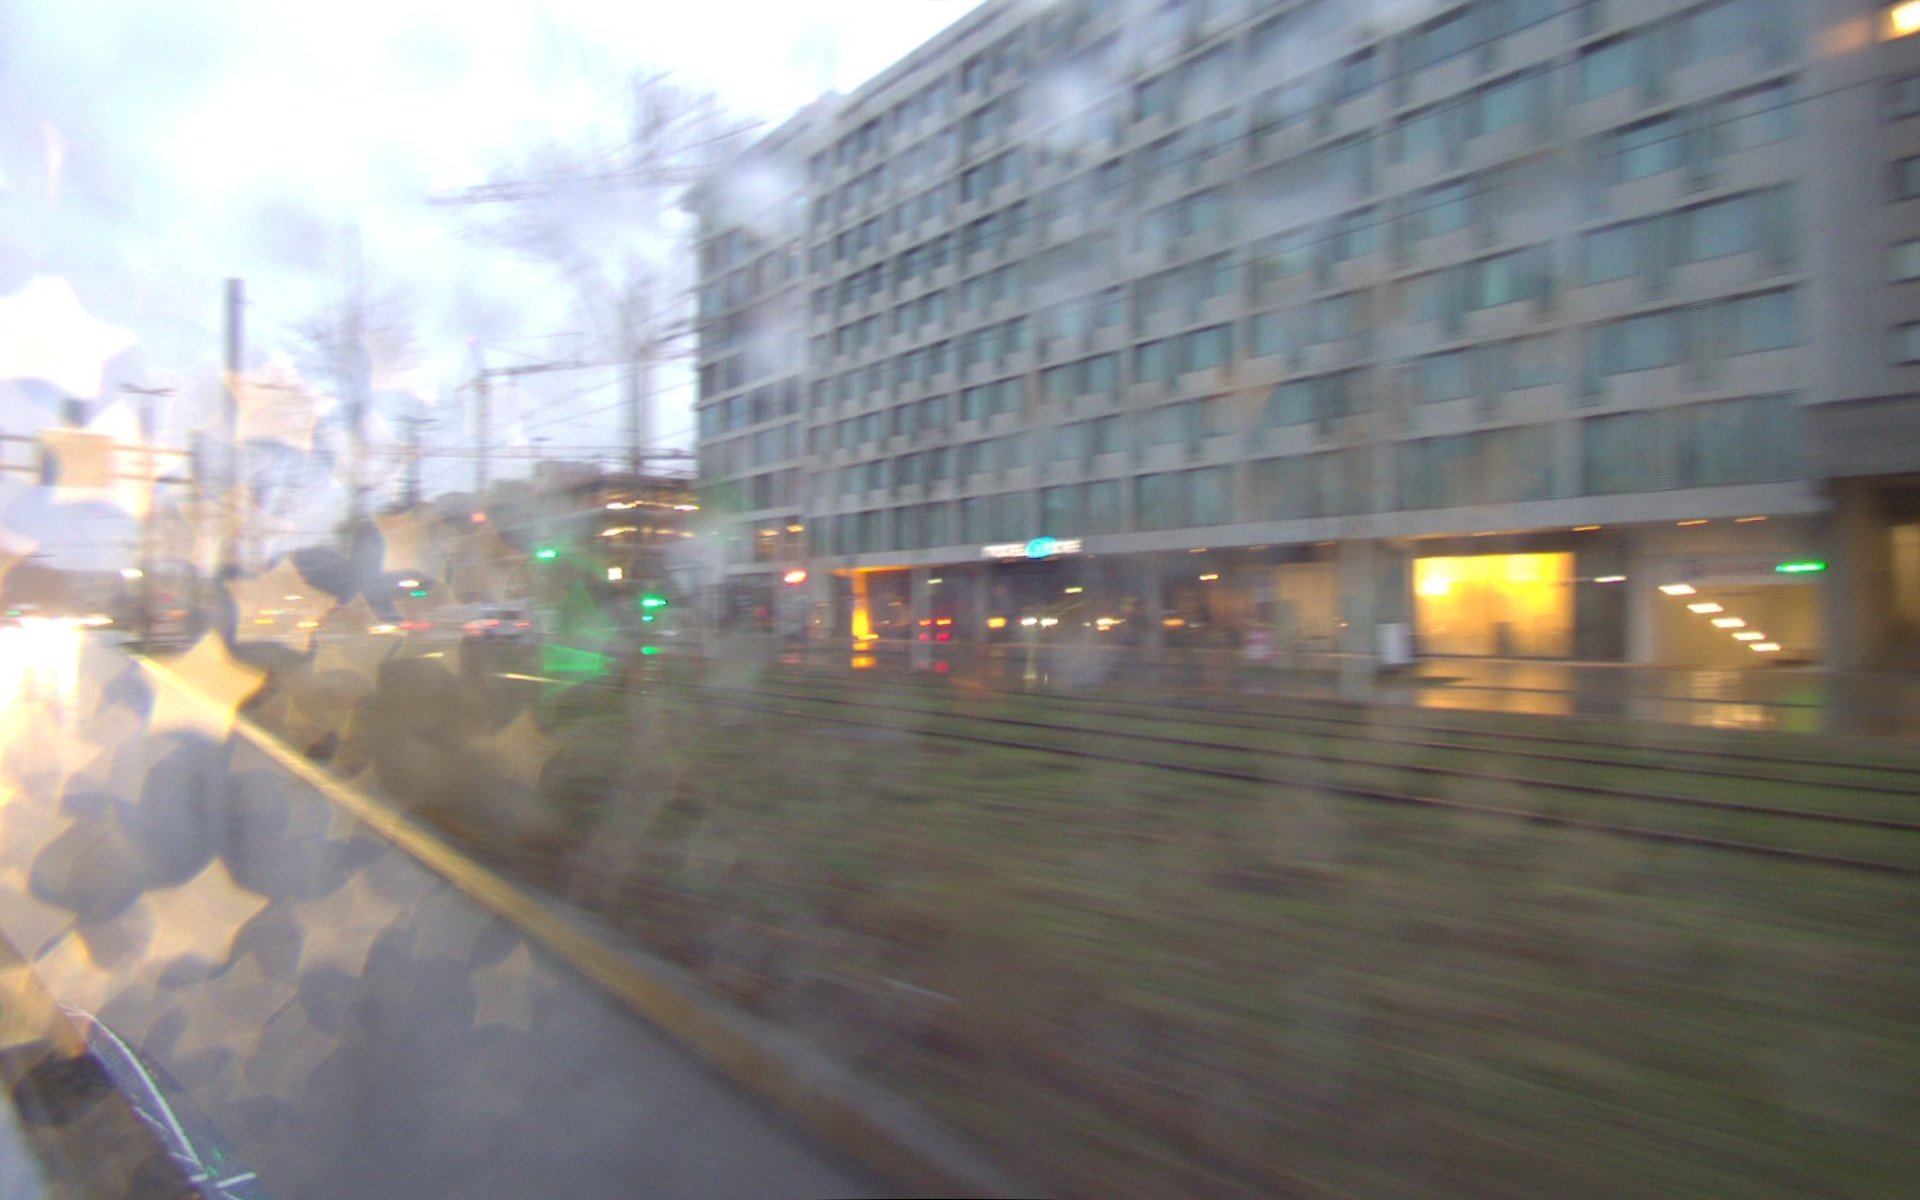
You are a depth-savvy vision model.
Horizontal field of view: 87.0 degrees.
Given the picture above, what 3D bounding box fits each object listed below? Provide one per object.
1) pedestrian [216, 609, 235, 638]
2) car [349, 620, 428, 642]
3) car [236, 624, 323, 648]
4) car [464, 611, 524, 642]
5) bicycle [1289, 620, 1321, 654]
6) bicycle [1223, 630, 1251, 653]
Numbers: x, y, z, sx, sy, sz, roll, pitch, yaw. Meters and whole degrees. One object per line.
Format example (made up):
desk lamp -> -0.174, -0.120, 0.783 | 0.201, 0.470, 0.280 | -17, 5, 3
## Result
pedestrian -> -46.748, 1.513, 64.428 | 0.757, 1.818, 0.712 | -1, 1, -14
car -> -35.259, 1.907, 62.494 | 3.954, 1.317, 1.813 | 0, -1, 9
car -> -42.027, 2.177, 62.542 | 4.191, 1.411, 2.115 | 1, -1, -41
car -> -25.979, 1.453, 56.273 | 2.054, 1.682, 5.055 | 1, -1, -36
bicycle -> 13.250, 1.413, 38.859 | 1.517, 1.247, 0.466 | -2, 1, -43
bicycle -> 11.109, 1.648, 40.568 | 1.330, 0.860, 0.466 | -2, 1, -43
